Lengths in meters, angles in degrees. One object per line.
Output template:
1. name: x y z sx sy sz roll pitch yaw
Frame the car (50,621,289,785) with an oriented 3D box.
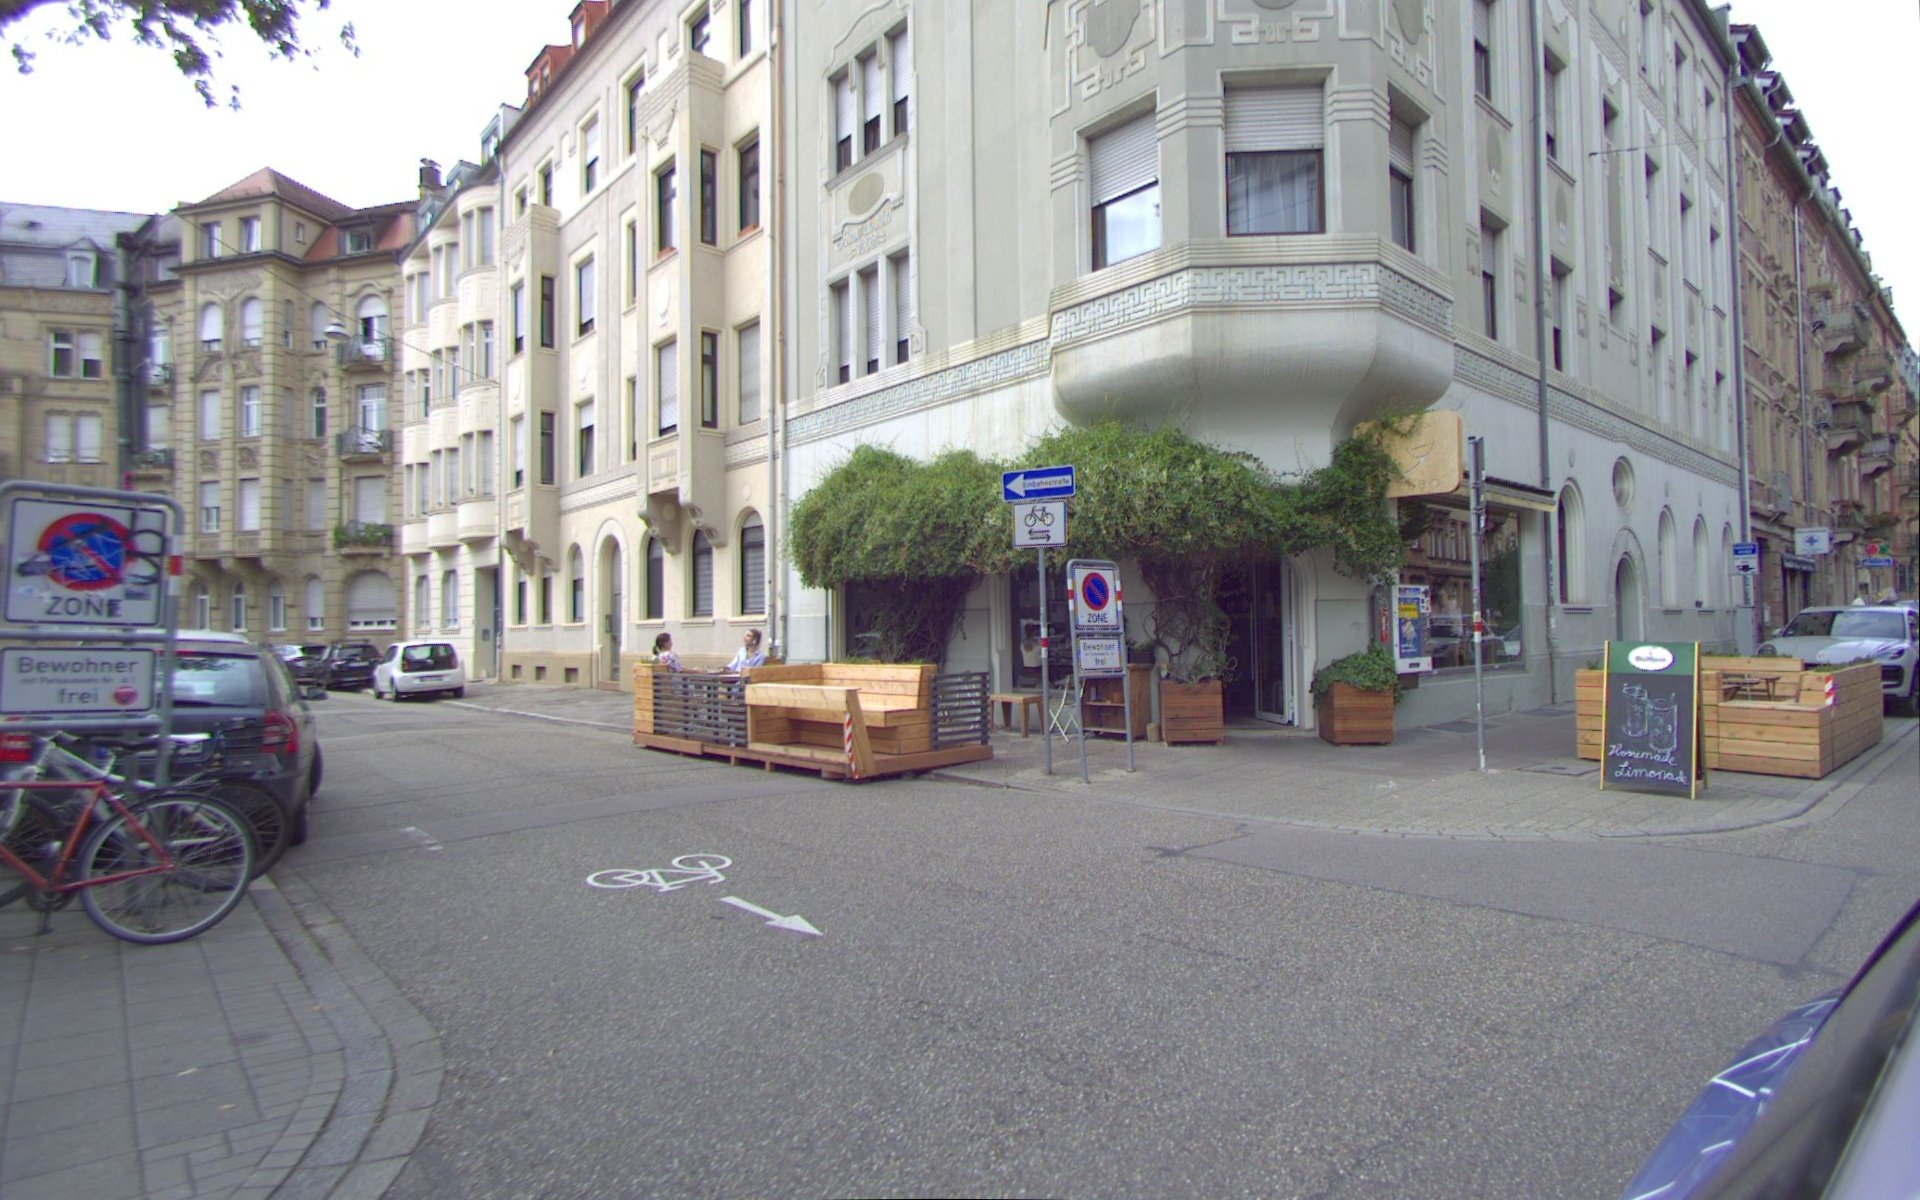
1. car: -9.176 1.075 11.779 1.814 1.556 4.031 4 -4 -39

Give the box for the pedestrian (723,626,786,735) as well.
1. pedestrian: -2.935 1.130 14.465 0.624 1.478 0.548 -3 0 -41

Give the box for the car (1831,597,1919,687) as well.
1. car: 19.422 0.830 20.522 3.932 1.693 1.853 1 -3 -38

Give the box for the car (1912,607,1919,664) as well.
1. car: 29.297 1.005 29.327 3.932 1.598 1.853 1 -3 -38

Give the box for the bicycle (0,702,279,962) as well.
1. bicycle: -4.249 1.040 4.642 1.788 1.064 0.522 3 -4 -41

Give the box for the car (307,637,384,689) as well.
1. car: -20.280 2.075 33.340 1.608 1.550 4.077 -1 -3 -39

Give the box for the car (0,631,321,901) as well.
1. car: -5.986 1.006 7.713 1.871 1.488 4.038 0 -2 -32

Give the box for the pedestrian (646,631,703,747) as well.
1. pedestrian: -3.798 1.163 13.472 0.550 1.488 0.548 1 -3 -41

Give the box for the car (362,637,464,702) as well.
1. car: -14.365 1.753 26.459 1.608 1.470 4.031 -1 -1 -39

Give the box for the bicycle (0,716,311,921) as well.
1. bicycle: -4.614 1.141 5.463 1.788 0.929 0.522 3 -4 -41

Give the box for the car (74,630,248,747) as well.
1. car: -12.330 1.281 15.646 1.814 1.556 4.031 4 -4 -39

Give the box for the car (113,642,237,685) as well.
1. car: -30.147 2.435 38.881 4.092 1.397 1.629 -3 -2 15

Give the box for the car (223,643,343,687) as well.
1. car: -24.833 2.368 37.127 4.102 1.397 1.625 -4 -2 22

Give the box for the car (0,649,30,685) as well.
1. car: -39.393 2.711 39.669 4.066 1.397 1.639 -2 -2 -12

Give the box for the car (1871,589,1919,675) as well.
1. car: 23.805 0.766 24.521 3.932 1.969 1.853 1 -3 -38

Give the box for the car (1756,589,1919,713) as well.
1. car: 14.176 0.766 15.750 3.932 1.693 1.853 1 -3 -38
